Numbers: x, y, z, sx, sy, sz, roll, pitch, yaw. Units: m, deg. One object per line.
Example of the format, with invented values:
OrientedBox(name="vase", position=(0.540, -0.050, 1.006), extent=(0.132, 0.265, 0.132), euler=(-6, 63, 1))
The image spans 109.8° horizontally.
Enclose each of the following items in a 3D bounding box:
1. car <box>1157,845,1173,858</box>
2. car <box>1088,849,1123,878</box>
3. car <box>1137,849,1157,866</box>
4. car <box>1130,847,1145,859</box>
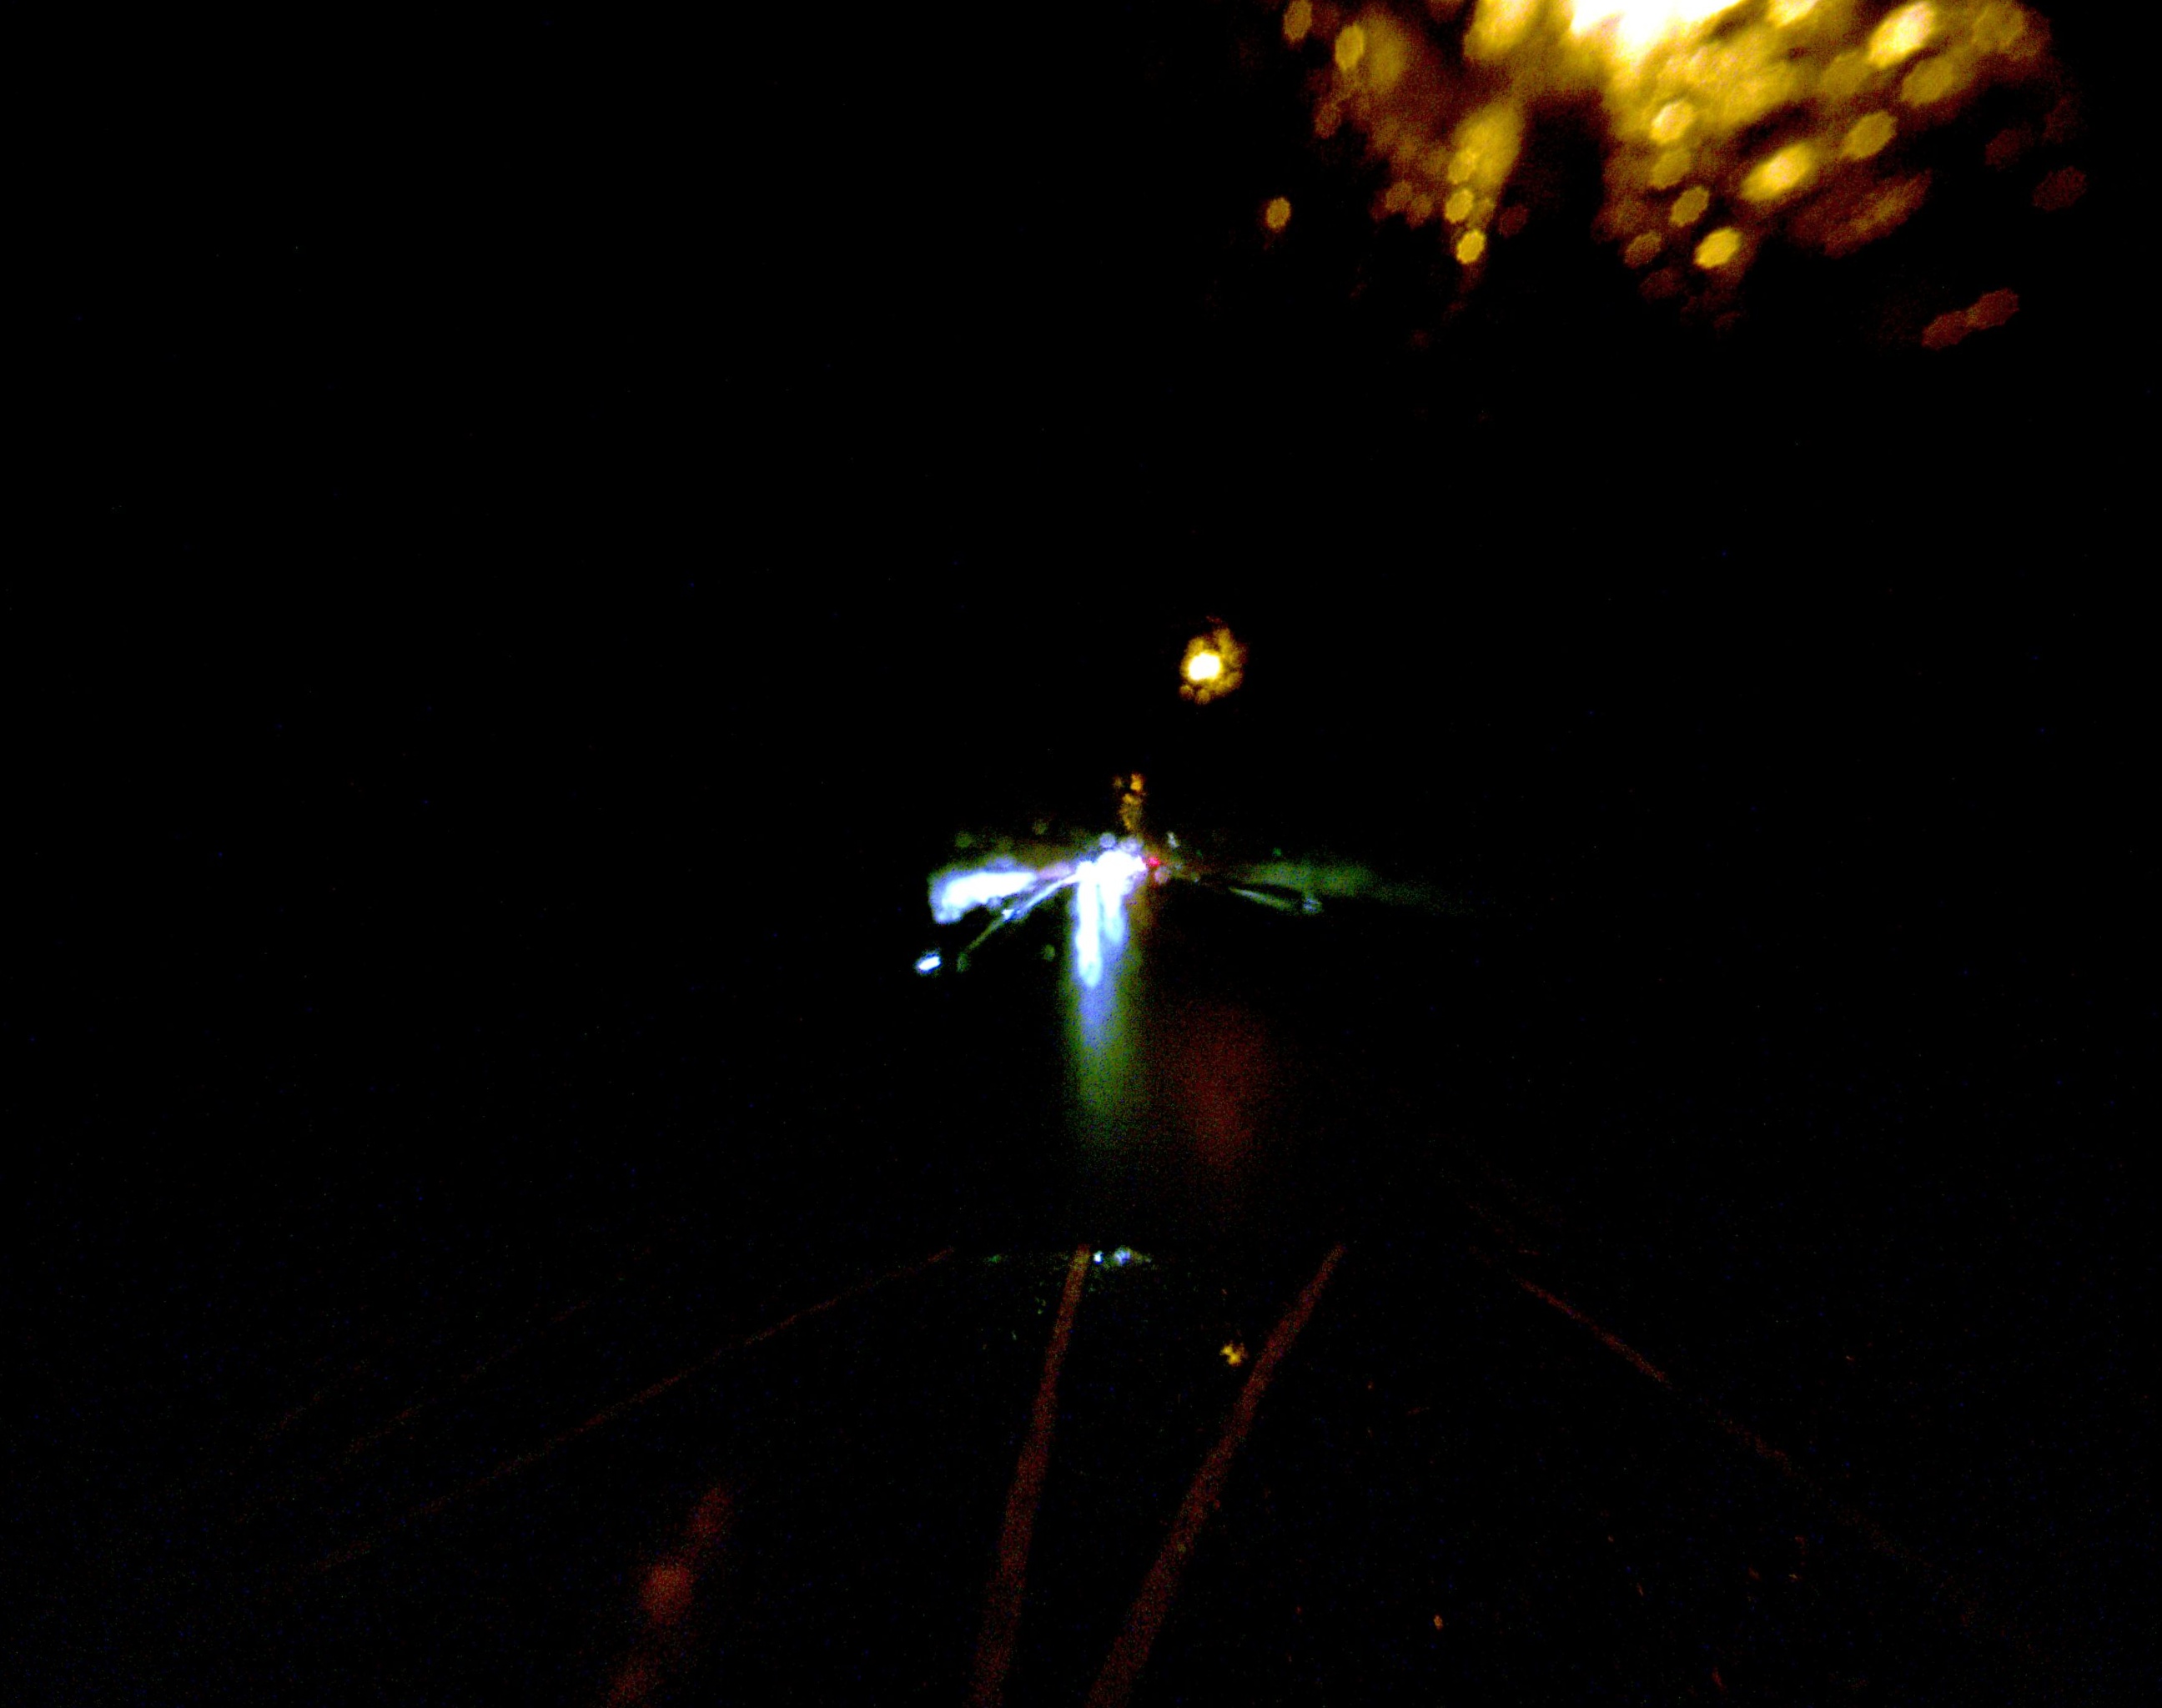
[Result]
OrientedBox(name="car", position=(11.241, -0.404, 102.020), extent=(1.998, 1.576, 4.000), euler=(-3, 1, 4))
OrientedBox(name="car", position=(1.541, 0.576, 47.310), extent=(1.998, 1.576, 4.000), euler=(-3, 1, 2))
OrientedBox(name="car", position=(7.093, 0.378, 81.782), extent=(1.998, 1.576, 4.000), euler=(-3, 1, 4))
OrientedBox(name="car", position=(8.440, -0.158, 114.707), extent=(1.998, 1.576, 4.000), euler=(-3, 1, 2))
